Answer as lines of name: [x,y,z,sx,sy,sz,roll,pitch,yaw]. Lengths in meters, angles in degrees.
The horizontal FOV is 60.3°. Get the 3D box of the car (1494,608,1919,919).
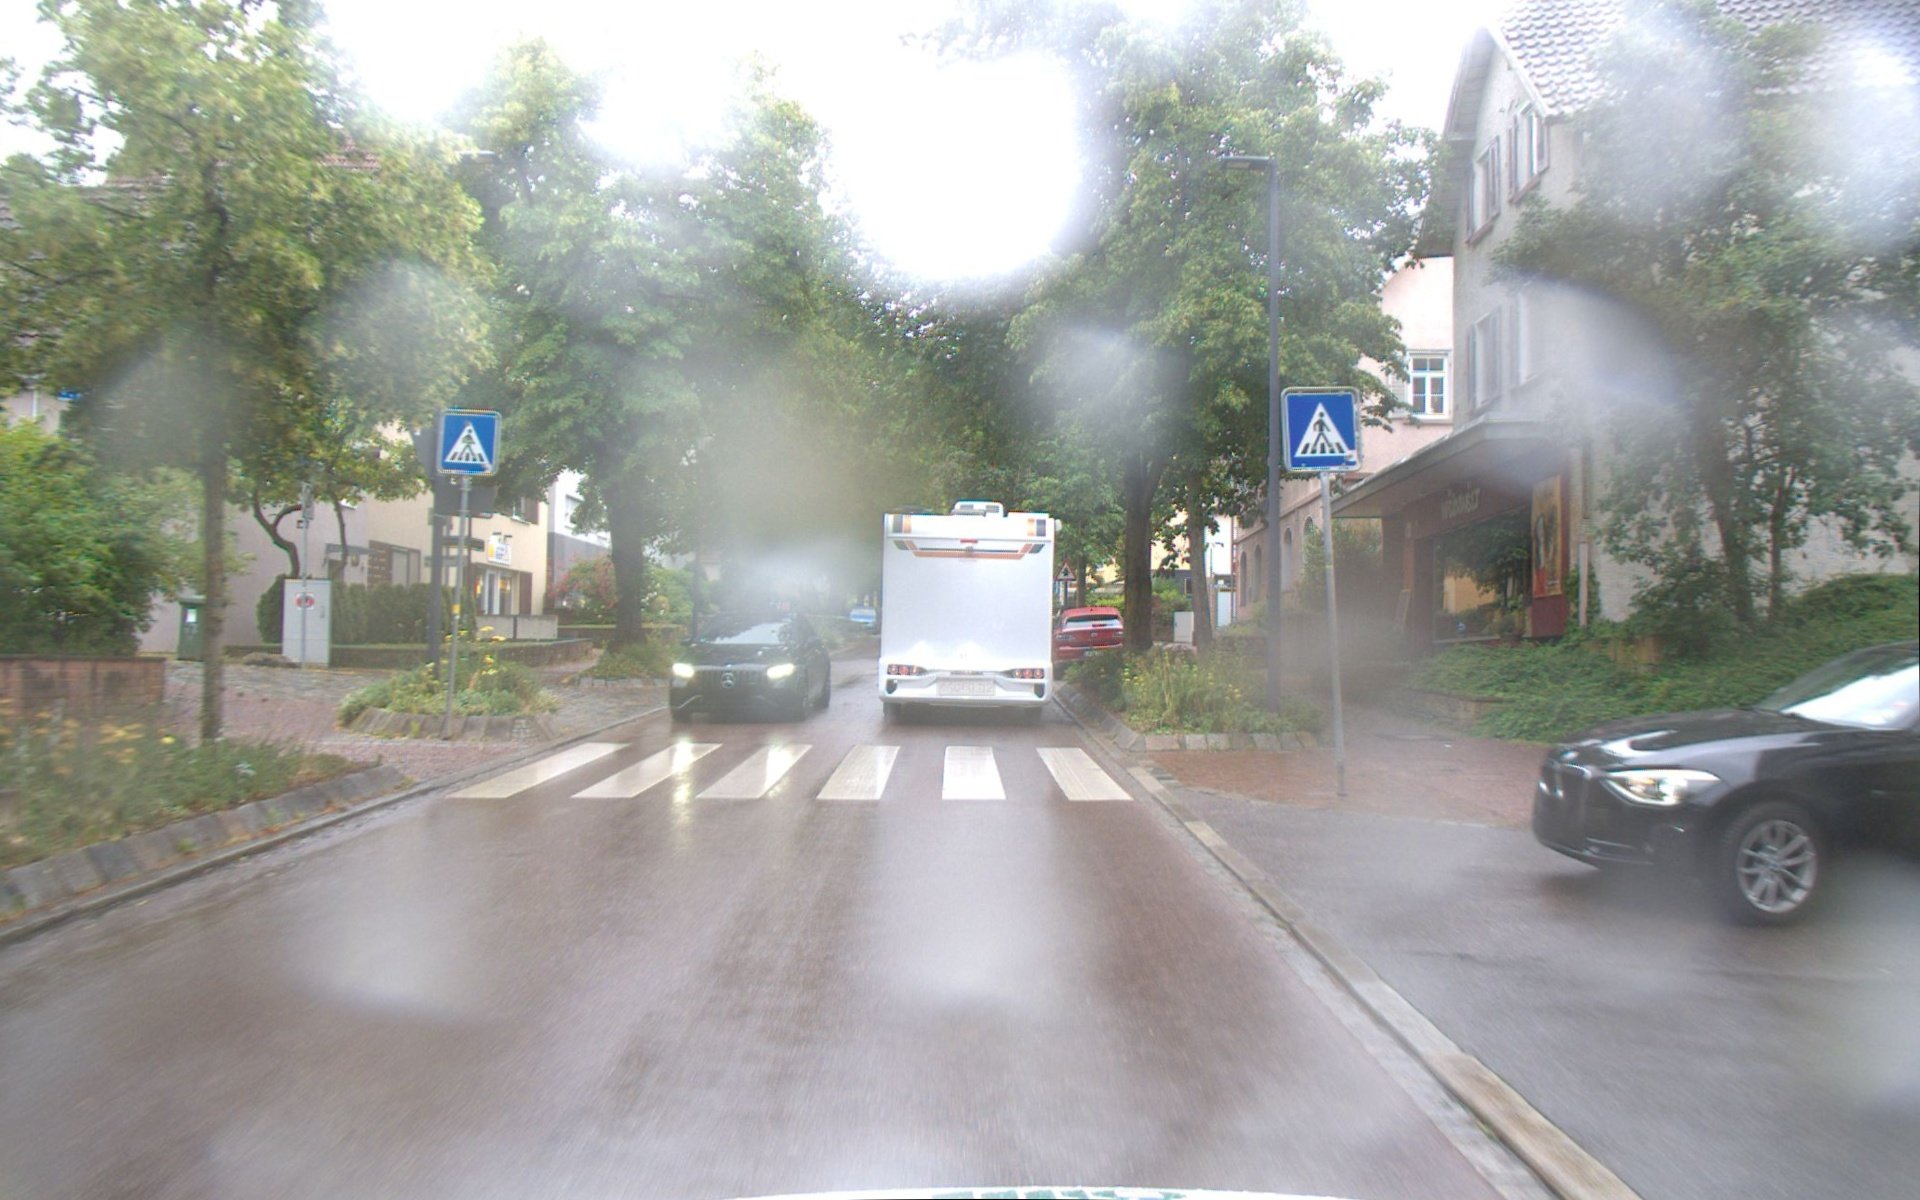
car: [5.292,0.833,8.930,4.196,1.441,1.840,2,0,-1]

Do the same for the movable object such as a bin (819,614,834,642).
movable object such as a bin: [-5.141,1.087,63.646,0.517,1.077,0.562,0,-1,0]

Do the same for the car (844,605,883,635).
car: [-5.177,1.091,88.360,1.764,1.579,3.992,0,-1,-8]

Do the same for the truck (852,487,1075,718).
truck: [0.018,0.093,23.624,2.748,2.846,6.105,0,-1,-1]

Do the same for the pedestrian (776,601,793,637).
pedestrian: [-9.179,1.001,86.427,0.800,1.876,0.770,0,-1,-1]

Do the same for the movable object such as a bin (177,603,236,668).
movable object such as a bin: [-12.534,0.589,27.524,0.560,1.053,0.739,0,-1,12]

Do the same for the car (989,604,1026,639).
car: [2.166,1.015,76.198,1.615,1.569,3.530,-1,-1,0]

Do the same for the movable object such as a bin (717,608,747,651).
movable object such as a bin: [-5.981,0.776,43.373,0.656,1.124,0.817,0,-1,-1]

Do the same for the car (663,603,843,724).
car: [-2.722,0.793,22.721,1.817,1.409,4.408,2,0,1]

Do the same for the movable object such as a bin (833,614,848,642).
movable object such as a bin: [-4.593,1.066,63.625,0.517,1.077,0.562,0,-1,0]

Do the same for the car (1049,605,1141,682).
car: [2.899,0.898,36.181,1.817,1.498,4.366,2,0,3]
